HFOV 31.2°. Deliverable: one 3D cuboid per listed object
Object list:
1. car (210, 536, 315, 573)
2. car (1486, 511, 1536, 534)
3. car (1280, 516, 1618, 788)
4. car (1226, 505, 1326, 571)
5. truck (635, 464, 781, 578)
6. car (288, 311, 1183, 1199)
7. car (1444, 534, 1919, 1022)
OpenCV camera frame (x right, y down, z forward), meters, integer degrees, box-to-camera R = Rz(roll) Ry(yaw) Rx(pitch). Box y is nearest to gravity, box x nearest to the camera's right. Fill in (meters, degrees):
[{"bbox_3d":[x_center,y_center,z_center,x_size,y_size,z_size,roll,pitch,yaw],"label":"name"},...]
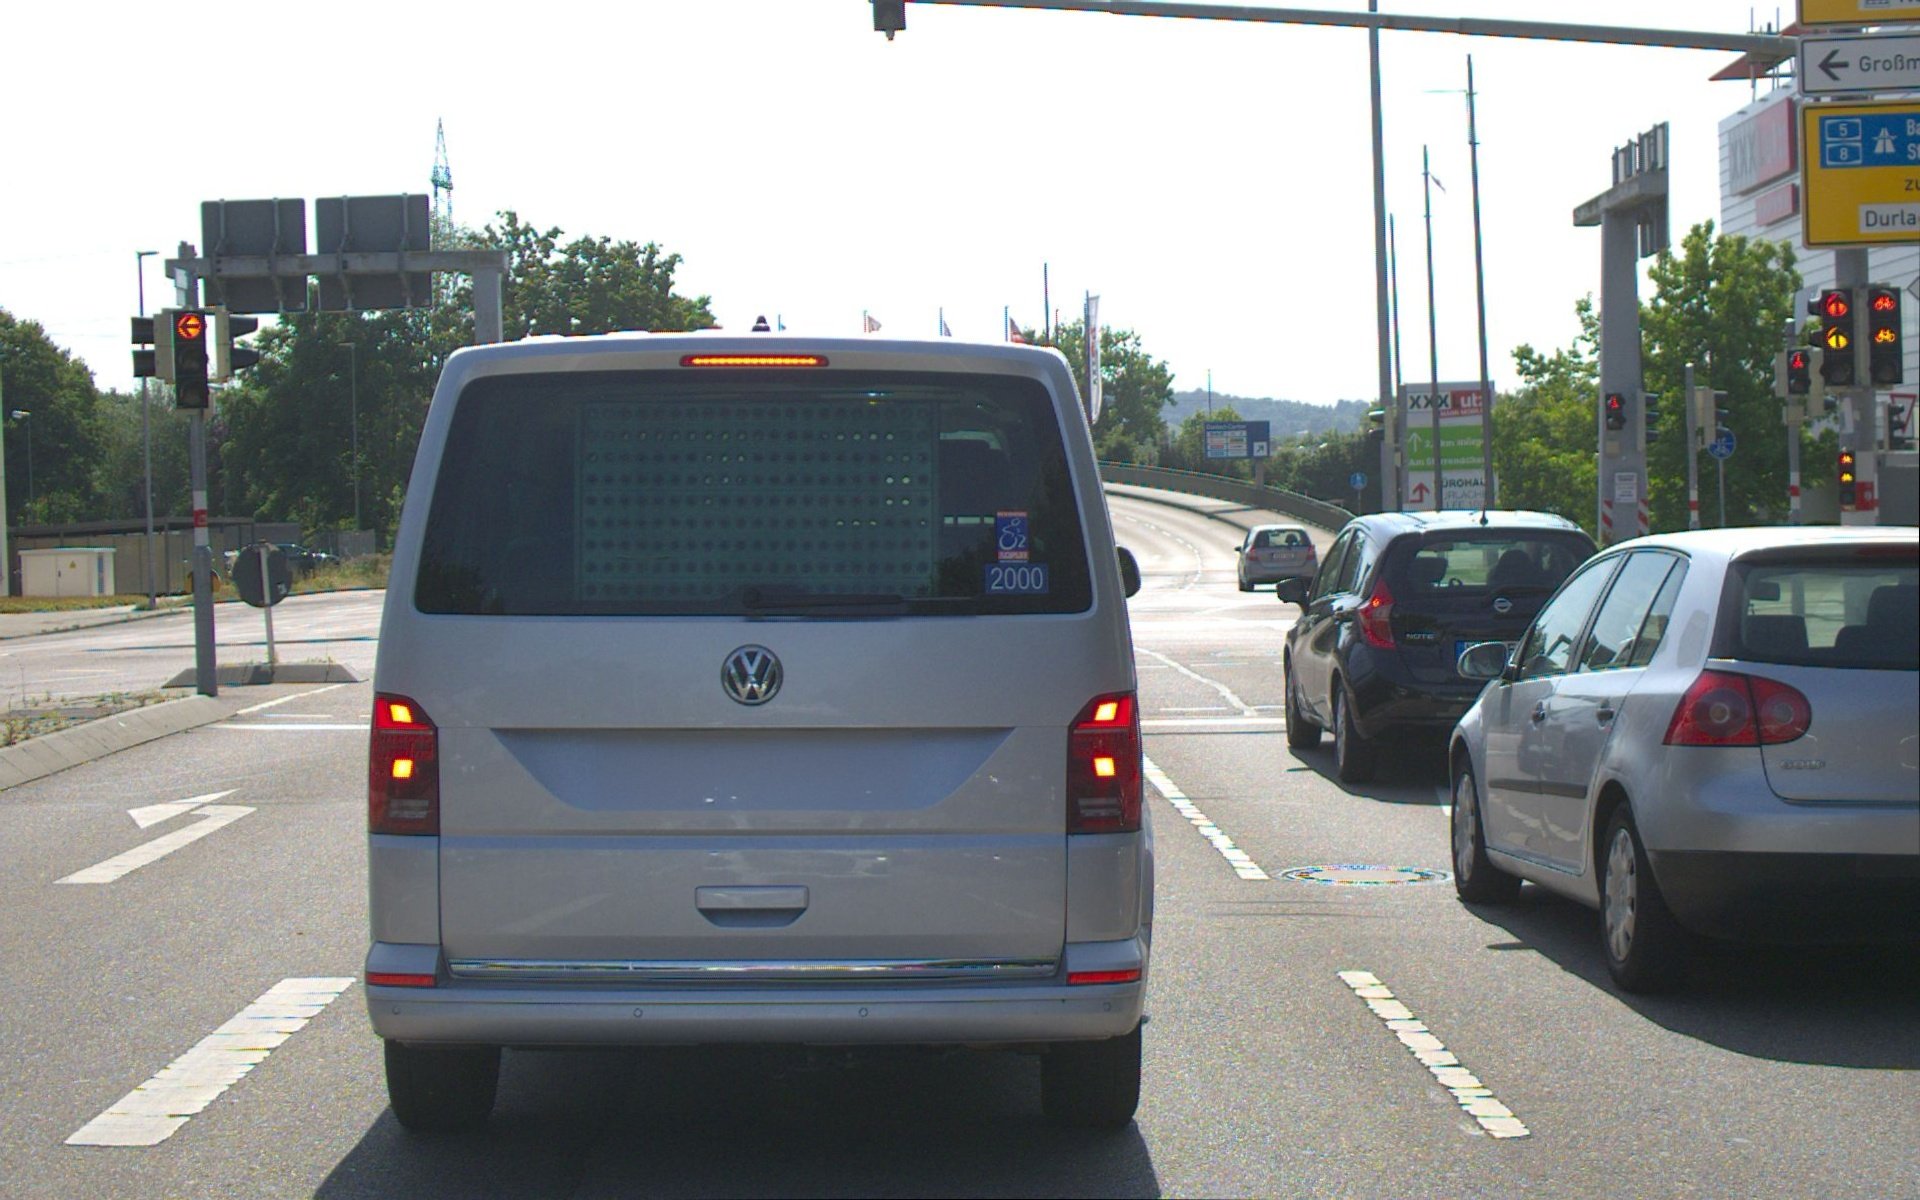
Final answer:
[{"bbox_3d":[-29.262,-1.918,144.217,4.098,1.415,1.729,-2,0,-19],"label":"car"},{"bbox_3d":[35.106,-4.923,219.302,1.993,1.415,4.001,1,1,-9],"label":"car"},{"bbox_3d":[2.835,0.242,20.537,1.531,1.474,3.596,0,1,0],"label":"car"},{"bbox_3d":[7.208,-1.423,78.639,1.530,1.433,3.248,-2,1,-8],"label":"car"},{"bbox_3d":[-8.525,-2.735,117.376,2.748,3.667,7.575,-2,1,13],"label":"truck"},{"bbox_3d":[-0.507,0.309,9.544,1.917,1.968,4.297,0,1,-1],"label":"car"},{"bbox_3d":[2.836,0.491,11.992,1.666,1.409,3.683,0,1,-2],"label":"car"}]
